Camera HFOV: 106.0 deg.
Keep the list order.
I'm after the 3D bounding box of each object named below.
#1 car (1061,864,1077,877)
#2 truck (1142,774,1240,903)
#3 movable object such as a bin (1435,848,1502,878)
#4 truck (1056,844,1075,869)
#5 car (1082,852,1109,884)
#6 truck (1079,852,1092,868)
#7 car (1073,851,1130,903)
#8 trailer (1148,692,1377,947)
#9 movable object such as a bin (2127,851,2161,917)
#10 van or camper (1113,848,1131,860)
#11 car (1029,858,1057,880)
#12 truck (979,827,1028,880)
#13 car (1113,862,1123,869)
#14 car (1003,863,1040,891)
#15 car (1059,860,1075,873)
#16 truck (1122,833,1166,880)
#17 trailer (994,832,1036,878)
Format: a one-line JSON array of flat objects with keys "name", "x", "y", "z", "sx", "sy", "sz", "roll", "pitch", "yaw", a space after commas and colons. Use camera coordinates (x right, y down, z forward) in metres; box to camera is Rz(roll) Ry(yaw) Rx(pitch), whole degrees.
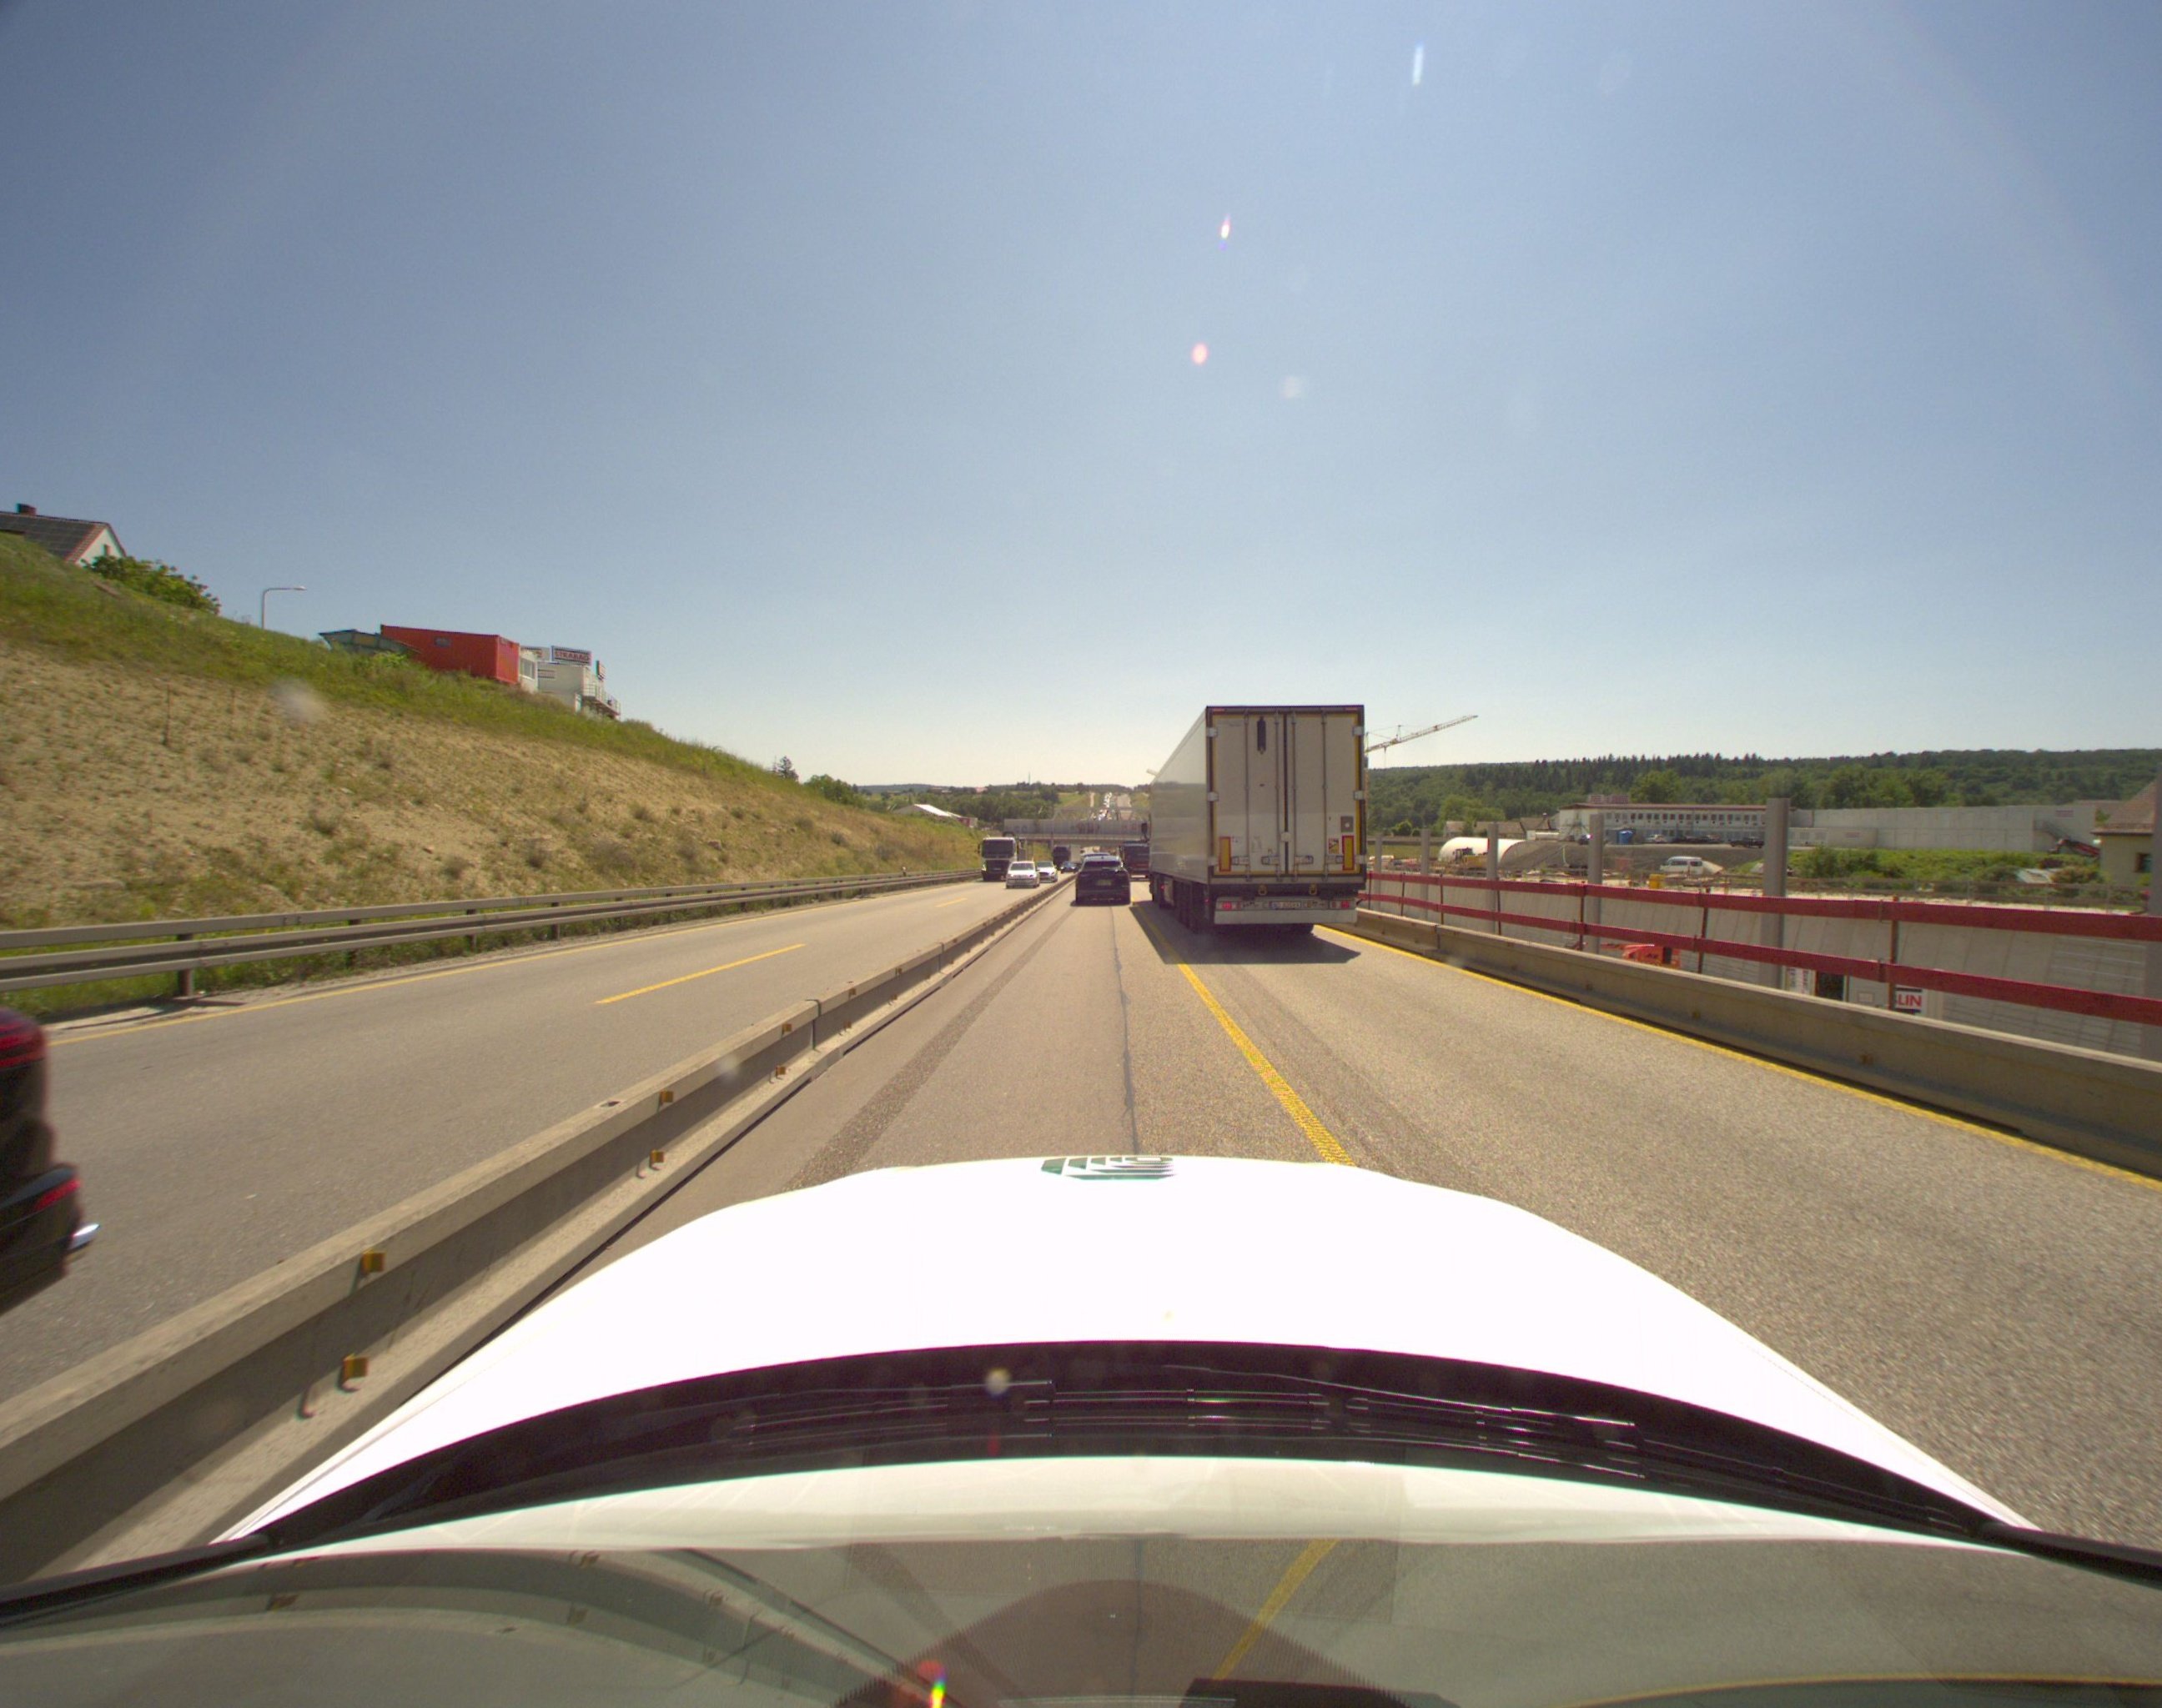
[{"name": "car", "x": -1.370, "y": 1.869, "z": 94.188, "sx": 1.684, "sy": 1.403, "sz": 3.686, "roll": -1, "pitch": -1, "yaw": 0}, {"name": "truck", "x": 3.649, "y": -0.471, "z": 28.111, "sx": 2.767, "sy": 4.058, "sz": 4.905, "roll": -1, "pitch": -1, "yaw": 1}, {"name": "movable object such as a bin", "x": 40.275, "y": 0.928, "z": 85.065, "sx": 2.876, "sy": 2.909, "sz": 9.484, "roll": 0, "pitch": 0, "yaw": 2}, {"name": "truck", "x": -2.365, "y": 0.421, "z": 127.195, "sx": 2.757, "sy": 3.884, "sz": 4.965, "roll": 0, "pitch": -1, "yaw": 1}, {"name": "car", "x": 0.860, "y": 0.785, "z": 47.859, "sx": 1.469, "sy": 1.795, "sz": 3.298, "roll": -1, "pitch": -1, "yaw": 2}, {"name": "truck", "x": 0.924, "y": 1.159, "z": 153.556, "sx": 2.260, "sy": 2.882, "sz": 5.853, "roll": 0, "pitch": -1, "yaw": 2}, {"name": "car", "x": 0.698, "y": 0.729, "z": 27.632, "sx": 1.794, "sy": 1.620, "sz": 3.299, "roll": 1, "pitch": 0, "yaw": 1}, {"name": "trailer", "x": 3.488, "y": -0.482, "z": 20.114, "sx": 2.791, "sy": 4.058, "sz": 14.119, "roll": -1, "pitch": -1, "yaw": 1}, {"name": "movable object such as a bin", "x": 37.709, "y": 1.005, "z": 26.534, "sx": 1.986, "sy": 2.239, "sz": 4.154, "roll": 0, "pitch": 0, "yaw": 2}, {"name": "van or camper", "x": 12.819, "y": -0.003, "z": 253.703, "sx": 3.942, "sy": 3.419, "sz": 8.380, "roll": 0, "pitch": 0, "yaw": -9}, {"name": "car", "x": -2.544, "y": 1.003, "z": 55.091, "sx": 1.679, "sy": 1.430, "sz": 4.122, "roll": -1, "pitch": 0, "yaw": 0}, {"name": "truck", "x": -5.771, "y": -0.007, "z": 61.944, "sx": 2.577, "sy": 3.723, "sz": 9.335, "roll": -1, "pitch": 0, "yaw": 1}, {"name": "car", "x": 6.071, "y": 1.897, "z": 134.042, "sx": 1.534, "sy": 1.206, "sz": 3.310, "roll": -1, "pitch": 0, "yaw": -1}, {"name": "car", "x": -3.173, "y": 1.220, "z": 43.989, "sx": 1.679, "sy": 1.430, "sz": 3.292, "roll": -1, "pitch": 0, "yaw": 0}, {"name": "car", "x": -1.573, "y": 1.433, "z": 94.079, "sx": 1.679, "sy": 1.430, "sz": 3.849, "roll": -1, "pitch": 0, "yaw": 0}, {"name": "truck", "x": 4.525, "y": 0.231, "z": 61.159, "sx": 2.803, "sy": 3.135, "sz": 12.844, "roll": -1, "pitch": 0, "yaw": 2}, {"name": "trailer", "x": -5.579, "y": 0.100, "z": 69.885, "sx": 2.577, "sy": 3.637, "sz": 9.080, "roll": -1, "pitch": 0, "yaw": 1}]
